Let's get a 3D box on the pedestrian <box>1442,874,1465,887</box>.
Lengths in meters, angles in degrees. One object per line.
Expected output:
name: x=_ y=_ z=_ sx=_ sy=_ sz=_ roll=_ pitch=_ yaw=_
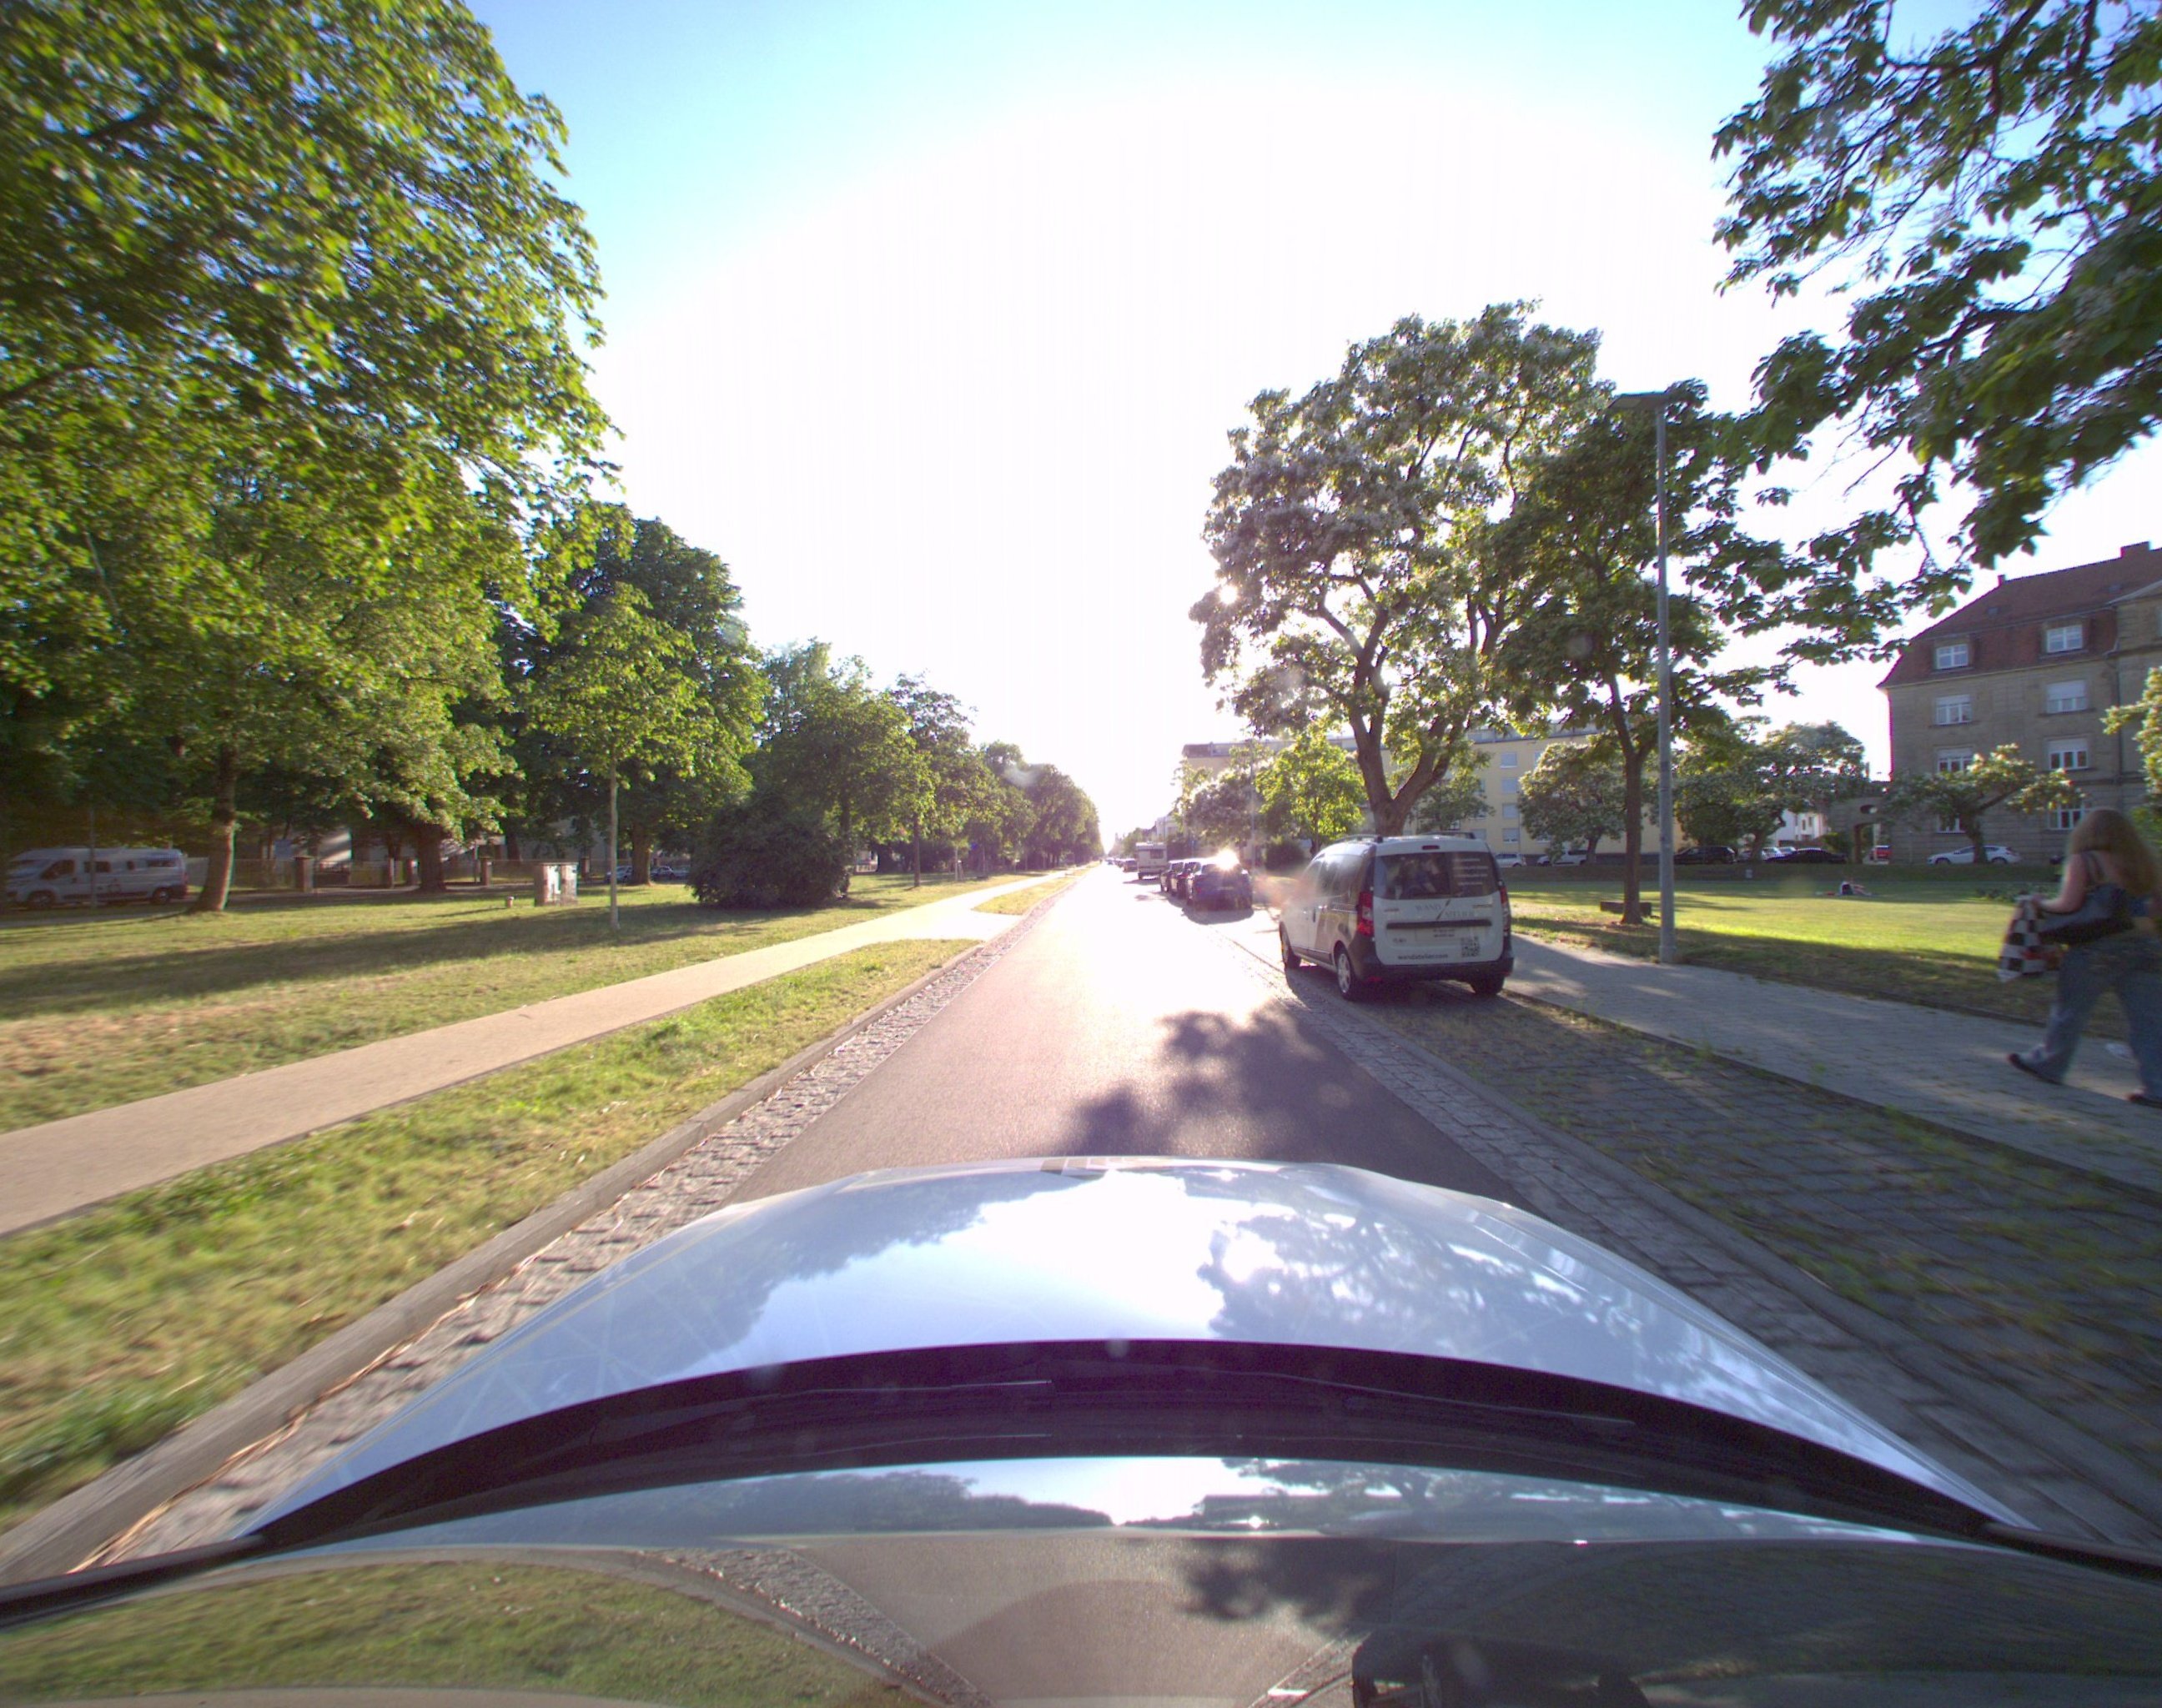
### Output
pedestrian: x=24.529 y=1.741 z=53.638 sx=0.577 sy=0.812 sz=1.244 roll=0 pitch=-1 yaw=-43

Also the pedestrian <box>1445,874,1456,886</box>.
pedestrian: x=24.801 y=1.742 z=54.606 sx=0.470 sy=0.812 sz=0.612 roll=0 pitch=0 yaw=3

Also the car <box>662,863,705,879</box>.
car: x=-39.058 y=1.626 z=80.131 sx=1.985 sy=1.508 sz=4.118 roll=-1 pitch=-1 yaw=3

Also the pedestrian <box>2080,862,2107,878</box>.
pedestrian: x=51.288 y=0.828 z=41.259 sx=0.585 sy=0.794 sz=0.665 roll=-1 pitch=-1 yaw=-9

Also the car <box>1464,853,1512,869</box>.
car: x=38.890 y=0.691 z=77.835 sx=3.949 sy=1.453 sz=1.892 roll=-2 pitch=-1 yaw=30

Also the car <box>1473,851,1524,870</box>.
car: x=36.948 y=0.580 z=72.044 sx=3.949 sy=1.552 sz=1.620 roll=-2 pitch=-1 yaw=29

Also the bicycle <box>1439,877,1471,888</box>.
bicycle: x=23.374 y=1.770 z=50.924 sx=1.749 sy=0.615 sz=1.823 roll=-1 pitch=-1 yaw=26

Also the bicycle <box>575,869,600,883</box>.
bicycle: x=-41.473 y=1.853 z=68.502 sx=0.655 sy=1.175 sz=2.332 roll=-1 pitch=-1 yaw=-1

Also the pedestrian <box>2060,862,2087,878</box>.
pedestrian: x=51.213 y=0.820 z=42.031 sx=0.585 sy=0.794 sz=0.665 roll=-1 pitch=-1 yaw=-9

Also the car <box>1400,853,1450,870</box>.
car: x=34.017 y=0.735 z=80.608 sx=4.473 sy=1.569 sz=1.890 roll=-2 pitch=-1 yaw=20

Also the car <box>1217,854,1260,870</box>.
car: x=16.450 y=0.846 z=85.126 sx=4.174 sy=1.530 sz=2.003 roll=-1 pitch=-1 yaw=6

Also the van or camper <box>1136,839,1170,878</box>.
van or camper: x=5.535 y=0.414 z=63.520 sx=2.226 sy=2.904 sz=5.674 roll=-1 pitch=-2 yaw=1

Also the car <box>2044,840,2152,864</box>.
car: x=64.755 y=-0.100 z=51.924 sx=1.883 sy=1.453 sz=3.967 roll=-1 pitch=-1 yaw=-24

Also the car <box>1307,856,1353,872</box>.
car: x=23.679 y=0.949 z=77.494 sx=4.162 sy=1.463 sz=1.700 roll=-2 pitch=-1 yaw=17

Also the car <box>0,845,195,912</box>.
car: x=-40.983 y=0.961 z=33.225 sx=2.711 sy=2.463 sz=6.318 roll=-1 pitch=-1 yaw=1

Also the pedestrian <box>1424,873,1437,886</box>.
pedestrian: x=23.834 y=1.742 z=55.549 sx=0.608 sy=0.812 sz=0.724 roll=0 pitch=0 yaw=3

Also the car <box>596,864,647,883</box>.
car: x=-39.576 y=1.674 z=70.297 sx=1.985 sy=1.508 sz=4.002 roll=-1 pitch=-1 yaw=3

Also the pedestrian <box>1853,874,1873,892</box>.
pedestrian: x=34.885 y=1.304 z=36.342 sx=0.671 sy=0.794 sz=0.580 roll=0 pitch=-1 yaw=-41

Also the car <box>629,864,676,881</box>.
car: x=-39.331 y=1.654 z=74.886 sx=1.985 sy=1.508 sz=4.002 roll=-1 pitch=-1 yaw=3

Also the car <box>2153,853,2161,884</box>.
car: x=61.704 y=0.803 z=44.169 sx=2.004 sy=1.706 sz=3.966 roll=0 pitch=-1 yaw=-26

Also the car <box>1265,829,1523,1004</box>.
car: x=3.681 y=0.666 z=10.526 sx=1.672 sy=1.740 sz=4.515 roll=-1 pitch=-1 yaw=1

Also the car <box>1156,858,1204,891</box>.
car: x=4.655 y=0.957 z=38.776 sx=1.622 sy=1.464 sz=4.246 roll=-1 pitch=-1 yaw=-1

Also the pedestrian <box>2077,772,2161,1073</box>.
pedestrian: x=6.589 y=0.396 z=4.720 sx=0.722 sy=1.736 sz=0.732 roll=0 pitch=0 yaw=2

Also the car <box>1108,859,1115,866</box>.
car: x=7.952 y=2.239 z=213.043 sx=1.819 sy=1.669 sz=4.250 roll=-1 pitch=-1 yaw=1

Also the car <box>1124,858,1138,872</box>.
car: x=6.419 y=1.433 z=104.593 sx=1.620 sy=1.669 sz=4.250 roll=-1 pitch=-1 yaw=1

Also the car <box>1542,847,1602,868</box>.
car: x=44.814 y=0.308 z=74.417 sx=4.467 sy=1.746 sz=1.892 roll=-2 pitch=-1 yaw=37

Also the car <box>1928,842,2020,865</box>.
car: x=62.040 y=-0.004 z=56.649 sx=1.886 sy=1.453 sz=3.962 roll=-1 pitch=-1 yaw=-29

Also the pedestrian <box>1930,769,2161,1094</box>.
pedestrian: x=5.674 y=0.413 z=4.711 sx=0.750 sy=1.736 sz=0.732 roll=0 pitch=0 yaw=2

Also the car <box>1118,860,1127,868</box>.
car: x=8.097 y=1.916 z=158.361 sx=1.620 sy=1.410 sz=4.250 roll=-1 pitch=-1 yaw=1

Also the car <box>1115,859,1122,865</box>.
car: x=9.444 y=2.074 z=206.108 sx=1.620 sy=1.410 sz=4.250 roll=-1 pitch=-1 yaw=1

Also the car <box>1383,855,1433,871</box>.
car: x=30.281 y=0.867 z=75.418 sx=4.158 sy=1.357 sz=1.702 roll=-2 pitch=-1 yaw=22

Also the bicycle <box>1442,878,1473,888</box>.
bicycle: x=23.948 y=1.831 z=51.801 sx=1.749 sy=0.615 sz=1.823 roll=-1 pitch=-1 yaw=26

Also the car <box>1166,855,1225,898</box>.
car: x=4.448 y=0.853 z=32.194 sx=1.726 sy=1.551 sz=4.422 roll=-1 pitch=-1 yaw=1

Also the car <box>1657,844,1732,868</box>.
car: x=48.014 y=0.158 z=63.793 sx=1.891 sy=1.746 sz=4.470 roll=0 pitch=-1 yaw=-45

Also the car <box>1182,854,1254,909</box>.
car: x=4.271 y=0.835 z=25.941 sx=1.724 sy=1.551 sz=4.278 roll=-1 pitch=-1 yaw=3

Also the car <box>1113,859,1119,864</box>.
car: x=11.106 y=2.435 z=258.117 sx=1.620 sy=1.410 sz=4.250 roll=-1 pitch=-1 yaw=1

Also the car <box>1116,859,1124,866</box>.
car: x=8.107 y=1.718 z=169.808 sx=1.620 sy=1.410 sz=4.250 roll=-1 pitch=-1 yaw=1
